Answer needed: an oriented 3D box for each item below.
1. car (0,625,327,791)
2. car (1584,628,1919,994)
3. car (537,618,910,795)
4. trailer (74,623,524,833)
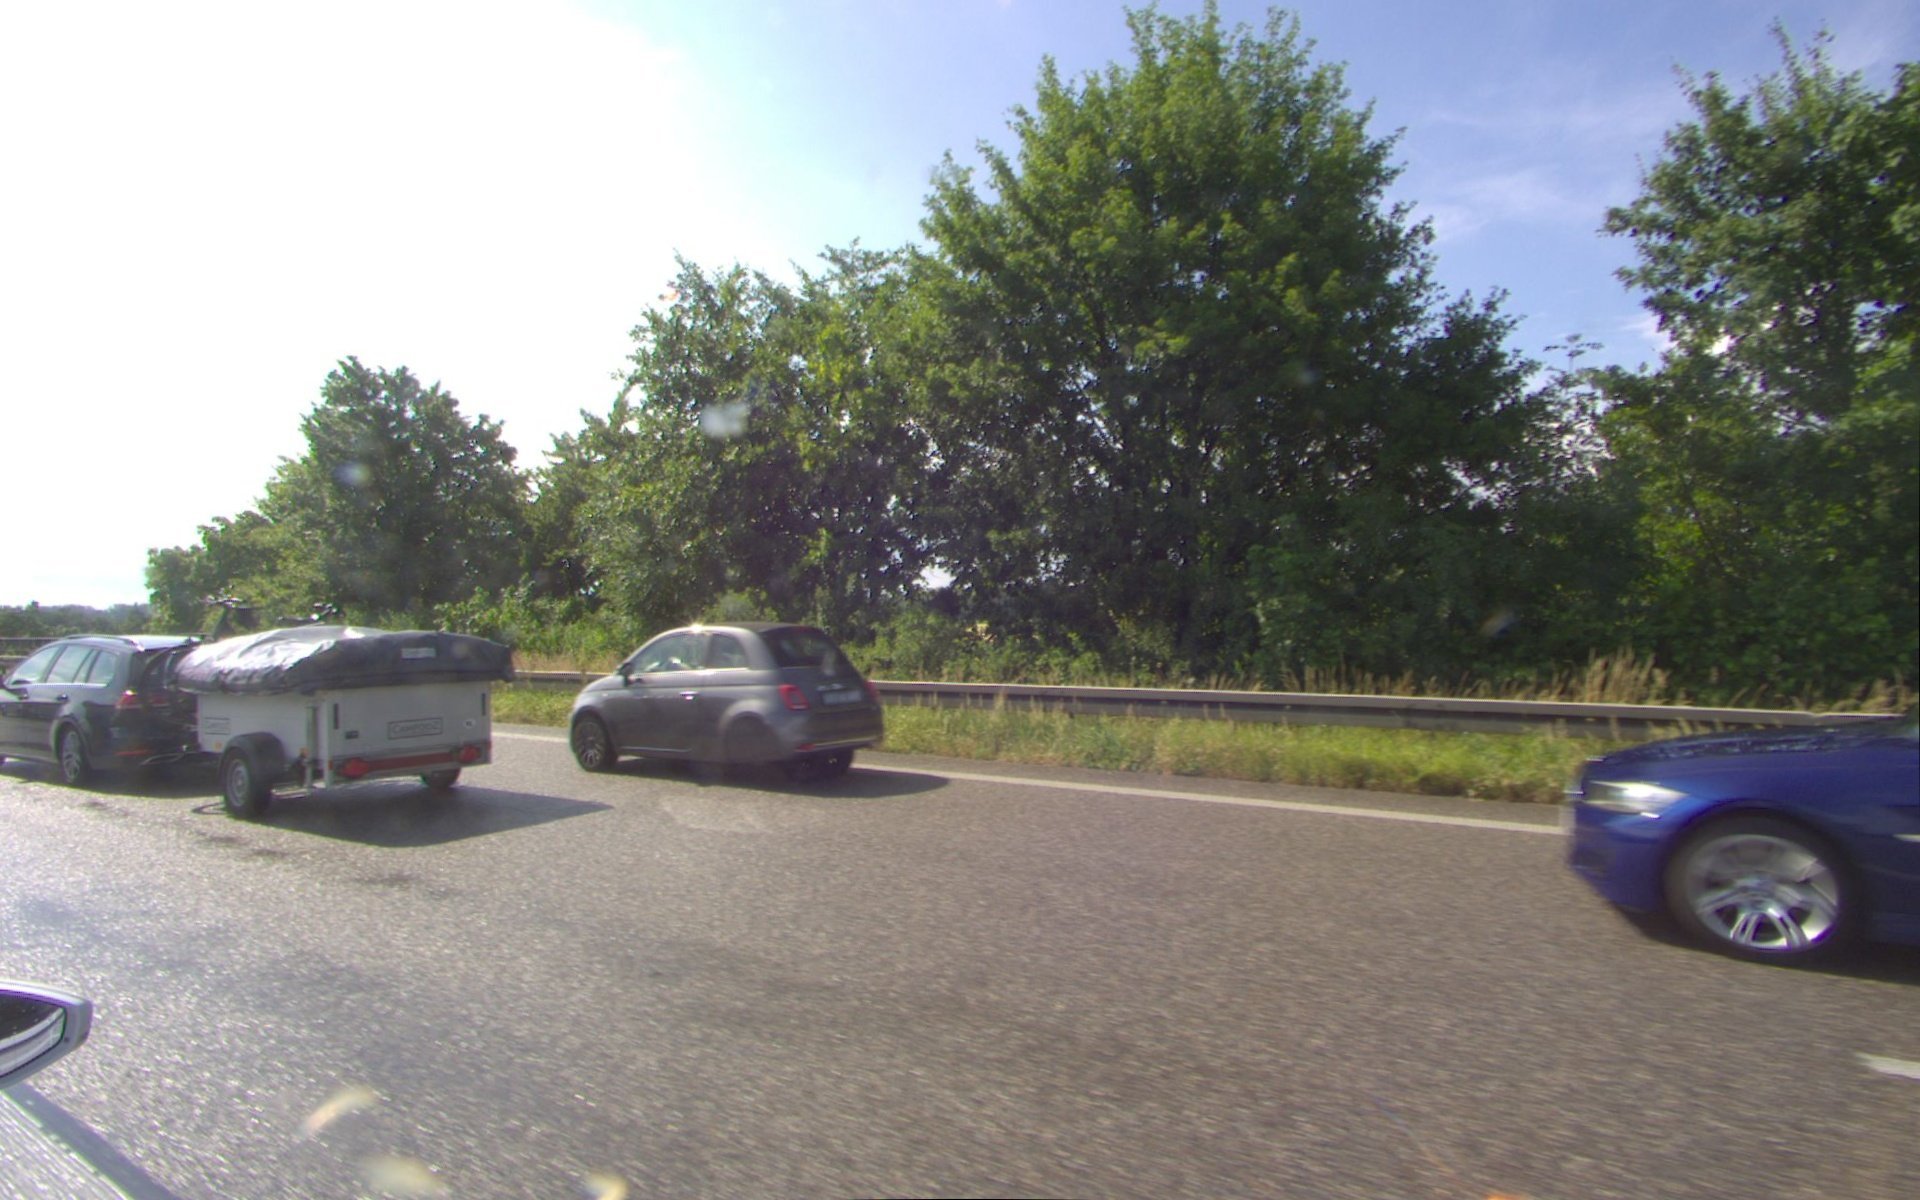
[{"bbox_3d":[-8.841,1.006,10.761,4.197,1.460,1.851,-1,-1,32],"label":"car"},{"bbox_3d":[5.056,0.826,4.088,4.230,1.420,1.767,-1,-1,33],"label":"car"},{"bbox_3d":[-2.464,0.951,10.212,3.619,1.502,1.668,-1,-1,32],"label":"car"},{"bbox_3d":[-5.951,0.949,8.902,4.089,1.460,1.851,-1,-1,32],"label":"trailer"}]
